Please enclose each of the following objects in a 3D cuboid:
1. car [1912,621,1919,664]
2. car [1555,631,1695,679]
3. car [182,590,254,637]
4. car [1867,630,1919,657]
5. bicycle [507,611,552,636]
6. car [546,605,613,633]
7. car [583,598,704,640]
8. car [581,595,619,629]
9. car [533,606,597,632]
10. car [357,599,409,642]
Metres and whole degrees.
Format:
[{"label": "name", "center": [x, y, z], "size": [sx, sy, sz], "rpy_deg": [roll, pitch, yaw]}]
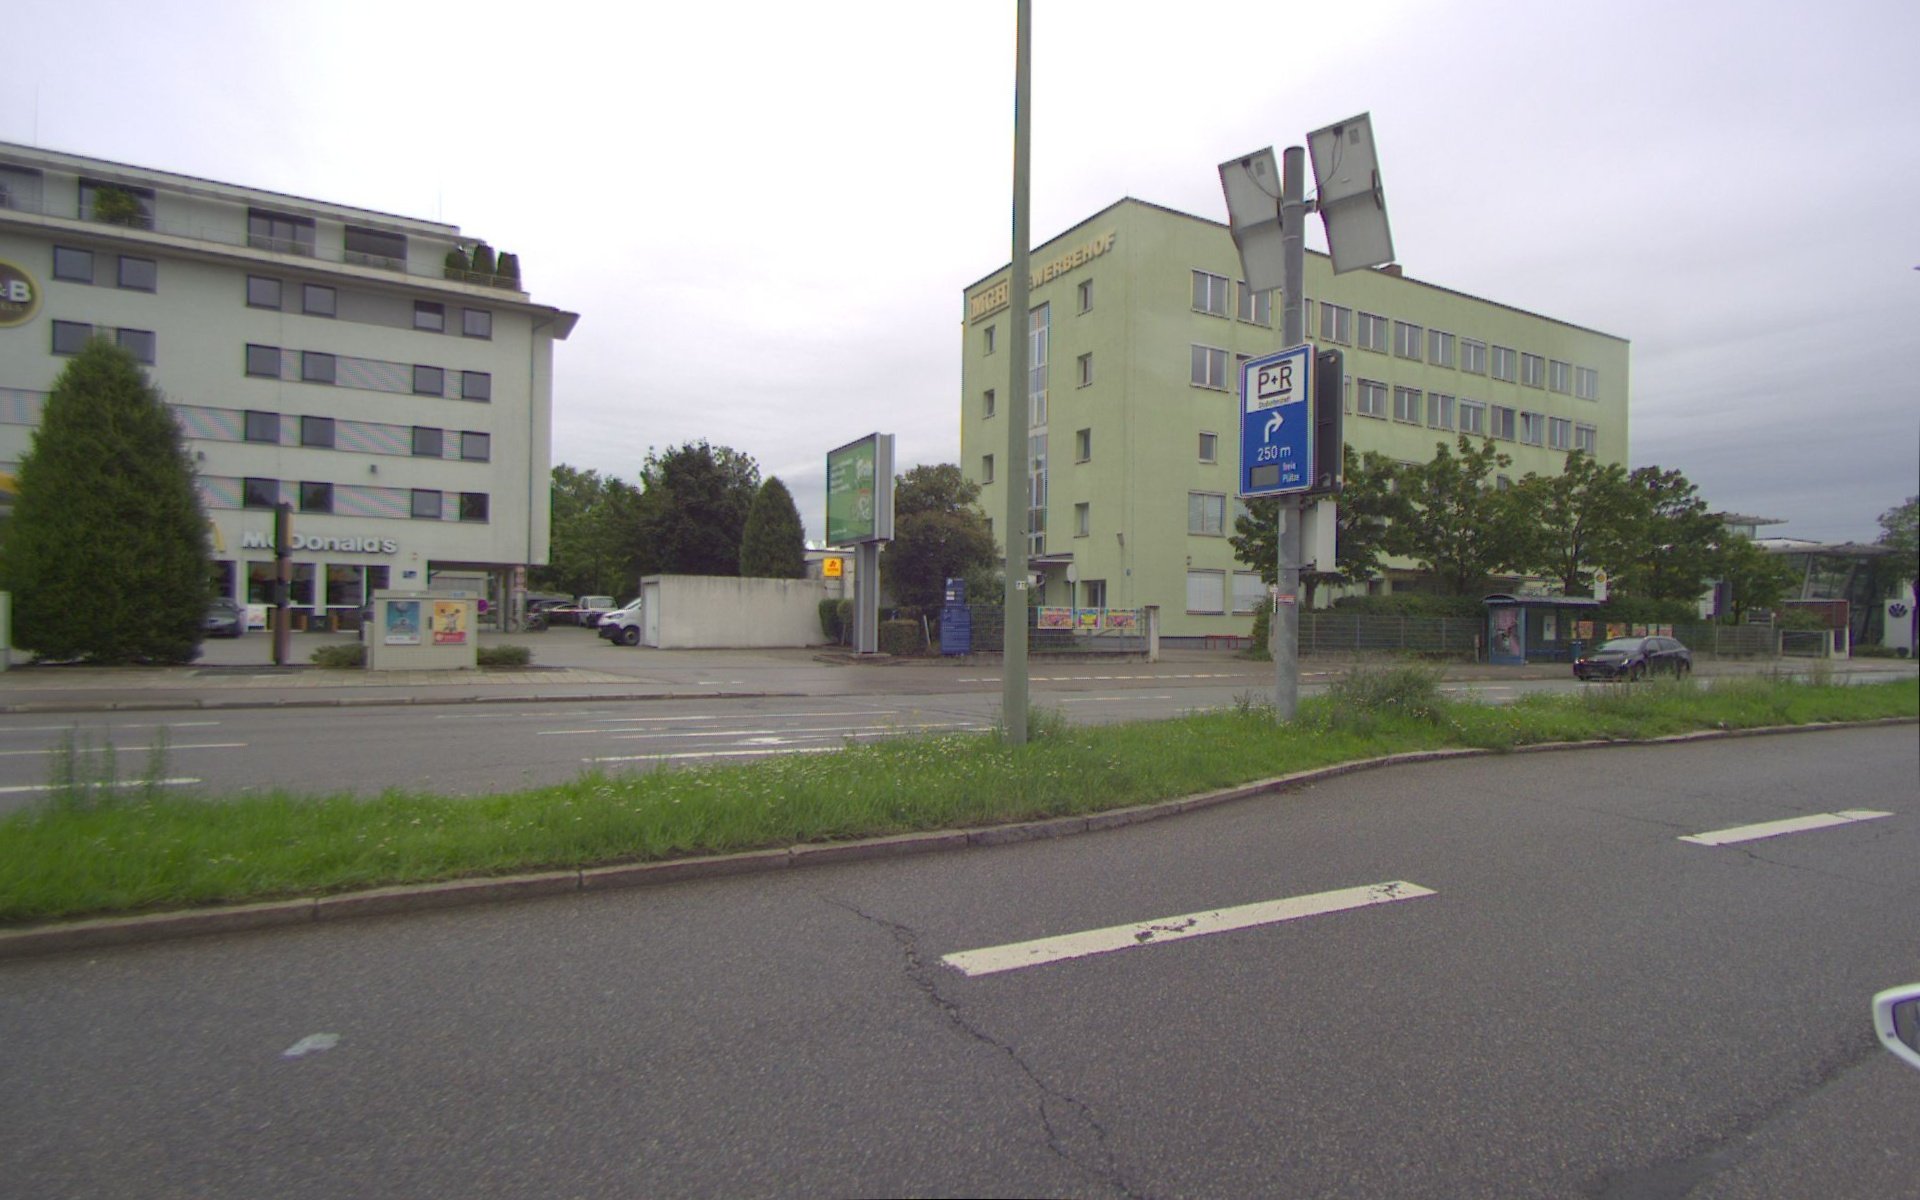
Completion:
[{"label": "car", "center": [47.278, 2.029, 47.636], "size": [4.275, 1.986, 1.984], "rpy_deg": [2, -2, -31]}, {"label": "car", "center": [21.404, 1.738, 32.301], "size": [4.601, 1.419, 1.984], "rpy_deg": [2, -2, -31]}, {"label": "car", "center": [-27.200, 0.513, 36.938], "size": [1.687, 1.608, 3.967], "rpy_deg": [1, -1, -30]}, {"label": "car", "center": [66.212, 3.019, 69.806], "size": [4.574, 1.866, 1.794], "rpy_deg": [-1, -3, 38]}, {"label": "bicycle", "center": [-19.930, 1.079, 46.498], "size": [1.859, 1.131, 0.444], "rpy_deg": [2, -2, -39]}, {"label": "car", "center": [-24.770, 1.263, 65.341], "size": [3.947, 1.732, 1.646], "rpy_deg": [1, -2, -26]}, {"label": "car", "center": [-11.562, 0.718, 36.763], "size": [3.953, 1.457, 1.817], "rpy_deg": [2, -2, -30]}, {"label": "car", "center": [-21.797, 0.777, 60.720], "size": [1.700, 1.968, 3.973], "rpy_deg": [1, -2, -27]}, {"label": "car", "center": [-26.830, 1.320, 68.258], "size": [3.947, 1.732, 1.646], "rpy_deg": [1, -2, -26]}, {"label": "car", "center": [-22.828, 0.795, 39.729], "size": [1.687, 1.608, 3.967], "rpy_deg": [1, -1, -30]}]
